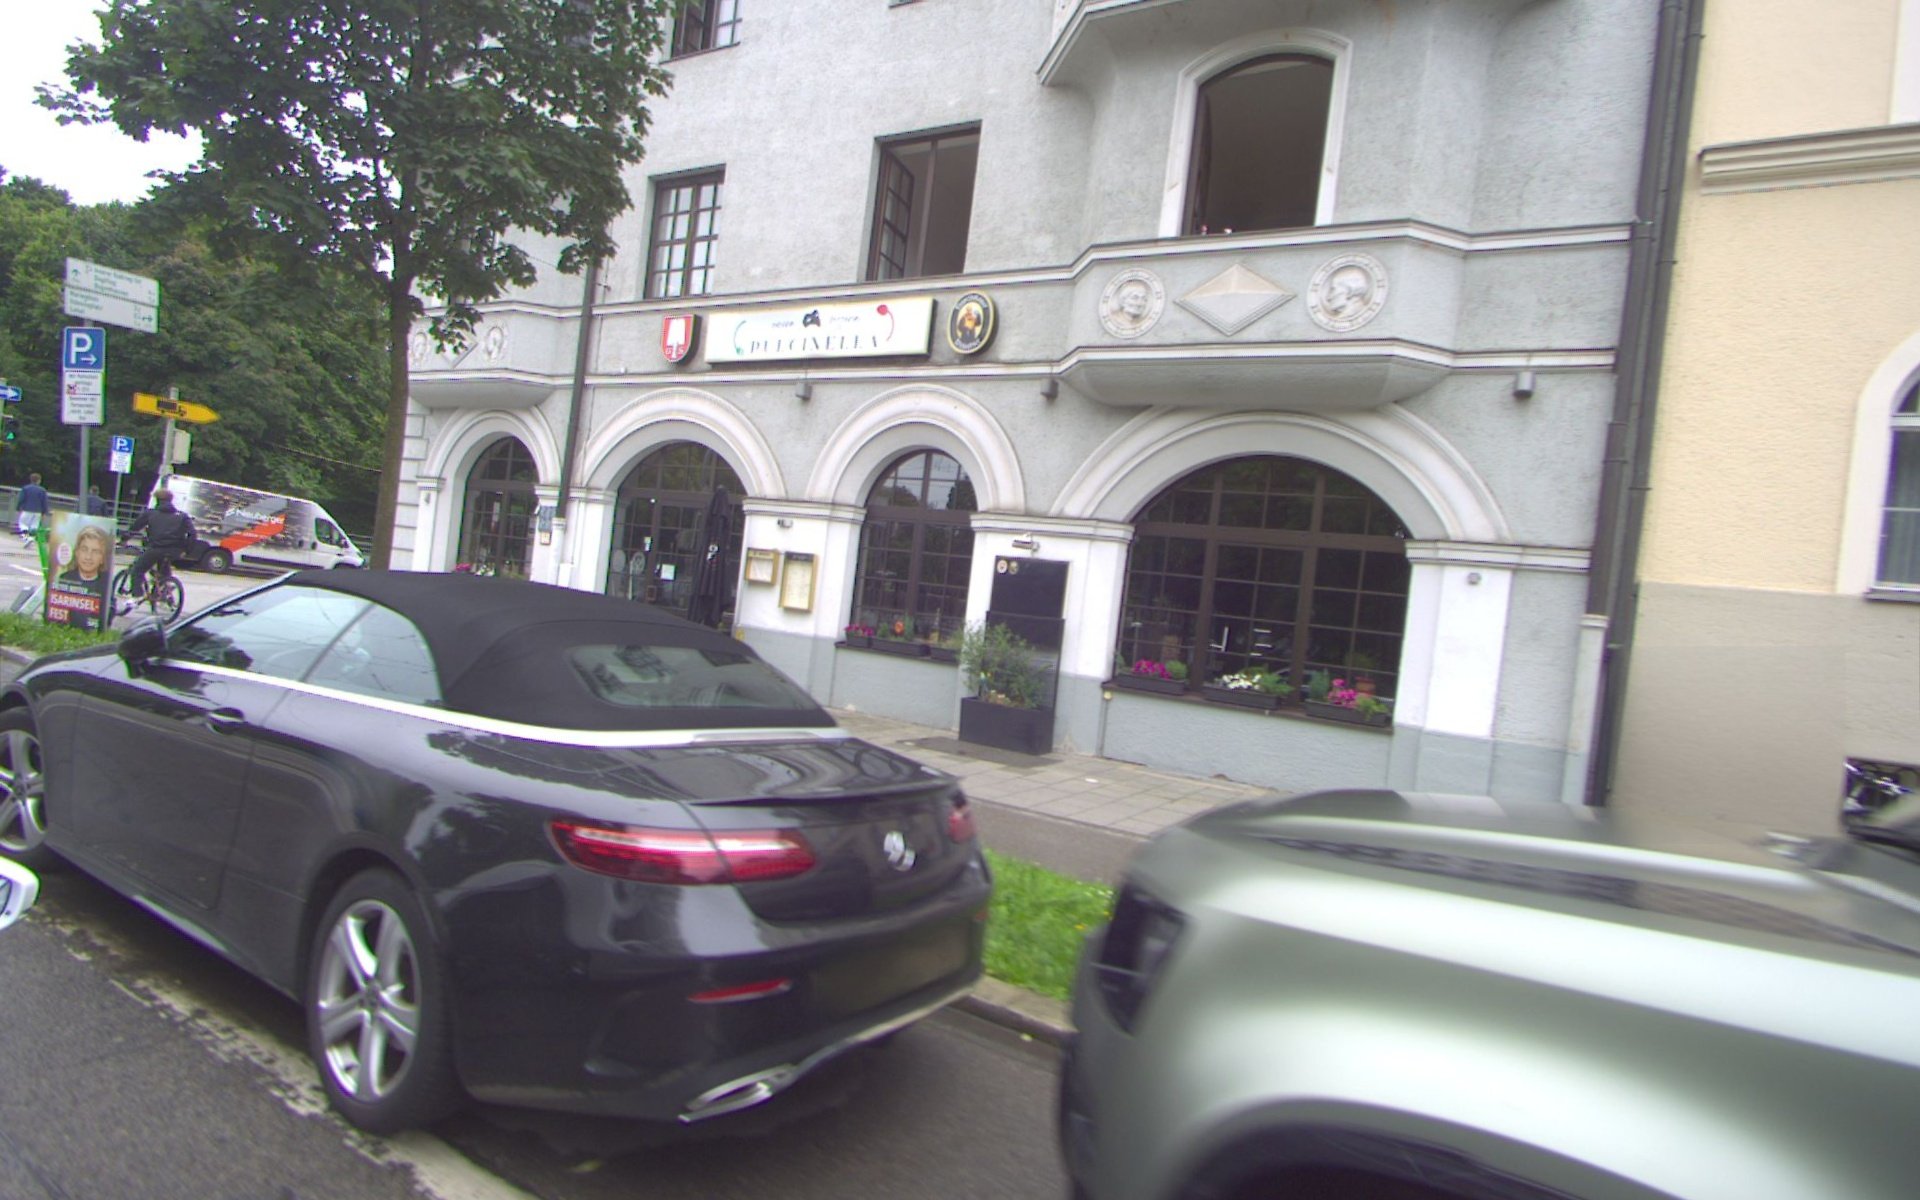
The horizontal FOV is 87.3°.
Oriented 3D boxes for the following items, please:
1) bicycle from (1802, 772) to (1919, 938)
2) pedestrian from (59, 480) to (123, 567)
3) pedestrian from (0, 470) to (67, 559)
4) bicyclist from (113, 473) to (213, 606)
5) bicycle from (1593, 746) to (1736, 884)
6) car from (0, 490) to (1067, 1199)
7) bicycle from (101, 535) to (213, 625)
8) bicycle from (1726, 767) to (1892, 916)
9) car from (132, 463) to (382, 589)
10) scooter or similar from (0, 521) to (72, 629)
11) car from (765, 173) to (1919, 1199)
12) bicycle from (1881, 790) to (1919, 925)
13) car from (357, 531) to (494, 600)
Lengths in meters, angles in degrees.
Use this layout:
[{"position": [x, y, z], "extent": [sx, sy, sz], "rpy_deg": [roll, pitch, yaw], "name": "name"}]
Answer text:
[{"position": [6.840, 1.858, 7.150], "extent": [1.203, 1.051, 0.242], "rpy_deg": [7, -1, 32], "name": "bicycle"}, {"position": [-22.054, -1.943, 25.529], "extent": [0.767, 2.037, 0.832], "rpy_deg": [7, -1, 31], "name": "pedestrian"}, {"position": [-23.011, -2.120, 24.987], "extent": [0.767, 2.037, 0.832], "rpy_deg": [7, -1, 31], "name": "pedestrian"}, {"position": [-11.324, -0.848, 14.294], "extent": [0.714, 1.749, 0.726], "rpy_deg": [7, -1, 31], "name": "bicyclist"}, {"position": [5.789, 1.750, 8.301], "extent": [0.871, 0.941, 0.259], "rpy_deg": [7, -1, 33], "name": "bicycle"}, {"position": [-1.963, 0.626, 3.858], "extent": [4.255, 1.609, 1.718], "rpy_deg": [6, -2, 32], "name": "car"}, {"position": [-11.441, -0.295, 14.315], "extent": [1.880, 1.093, 0.579], "rpy_deg": [7, 2, 30], "name": "bicycle"}, {"position": [6.567, 1.852, 7.818], "extent": [0.871, 0.941, 0.291], "rpy_deg": [7, -1, 33], "name": "bicycle"}, {"position": [-20.195, -2.037, 29.232], "extent": [2.192, 2.642, 5.311], "rpy_deg": [7, -2, 28], "name": "car"}, {"position": [-10.657, -0.316, 11.071], "extent": [0.582, 1.109, 1.191], "rpy_deg": [6, -2, 45], "name": "scooter or similar"}, {"position": [2.261, 0.755, 1.235], "extent": [4.726, 1.927, 1.919], "rpy_deg": [7, -2, 30], "name": "car"}, {"position": [7.349, 1.935, 7.293], "extent": [0.871, 0.941, 0.306], "rpy_deg": [7, -1, 33], "name": "bicycle"}, {"position": [-17.835, -1.127, 33.703], "extent": [1.810, 1.701, 3.446], "rpy_deg": [7, -3, 30], "name": "car"}]
